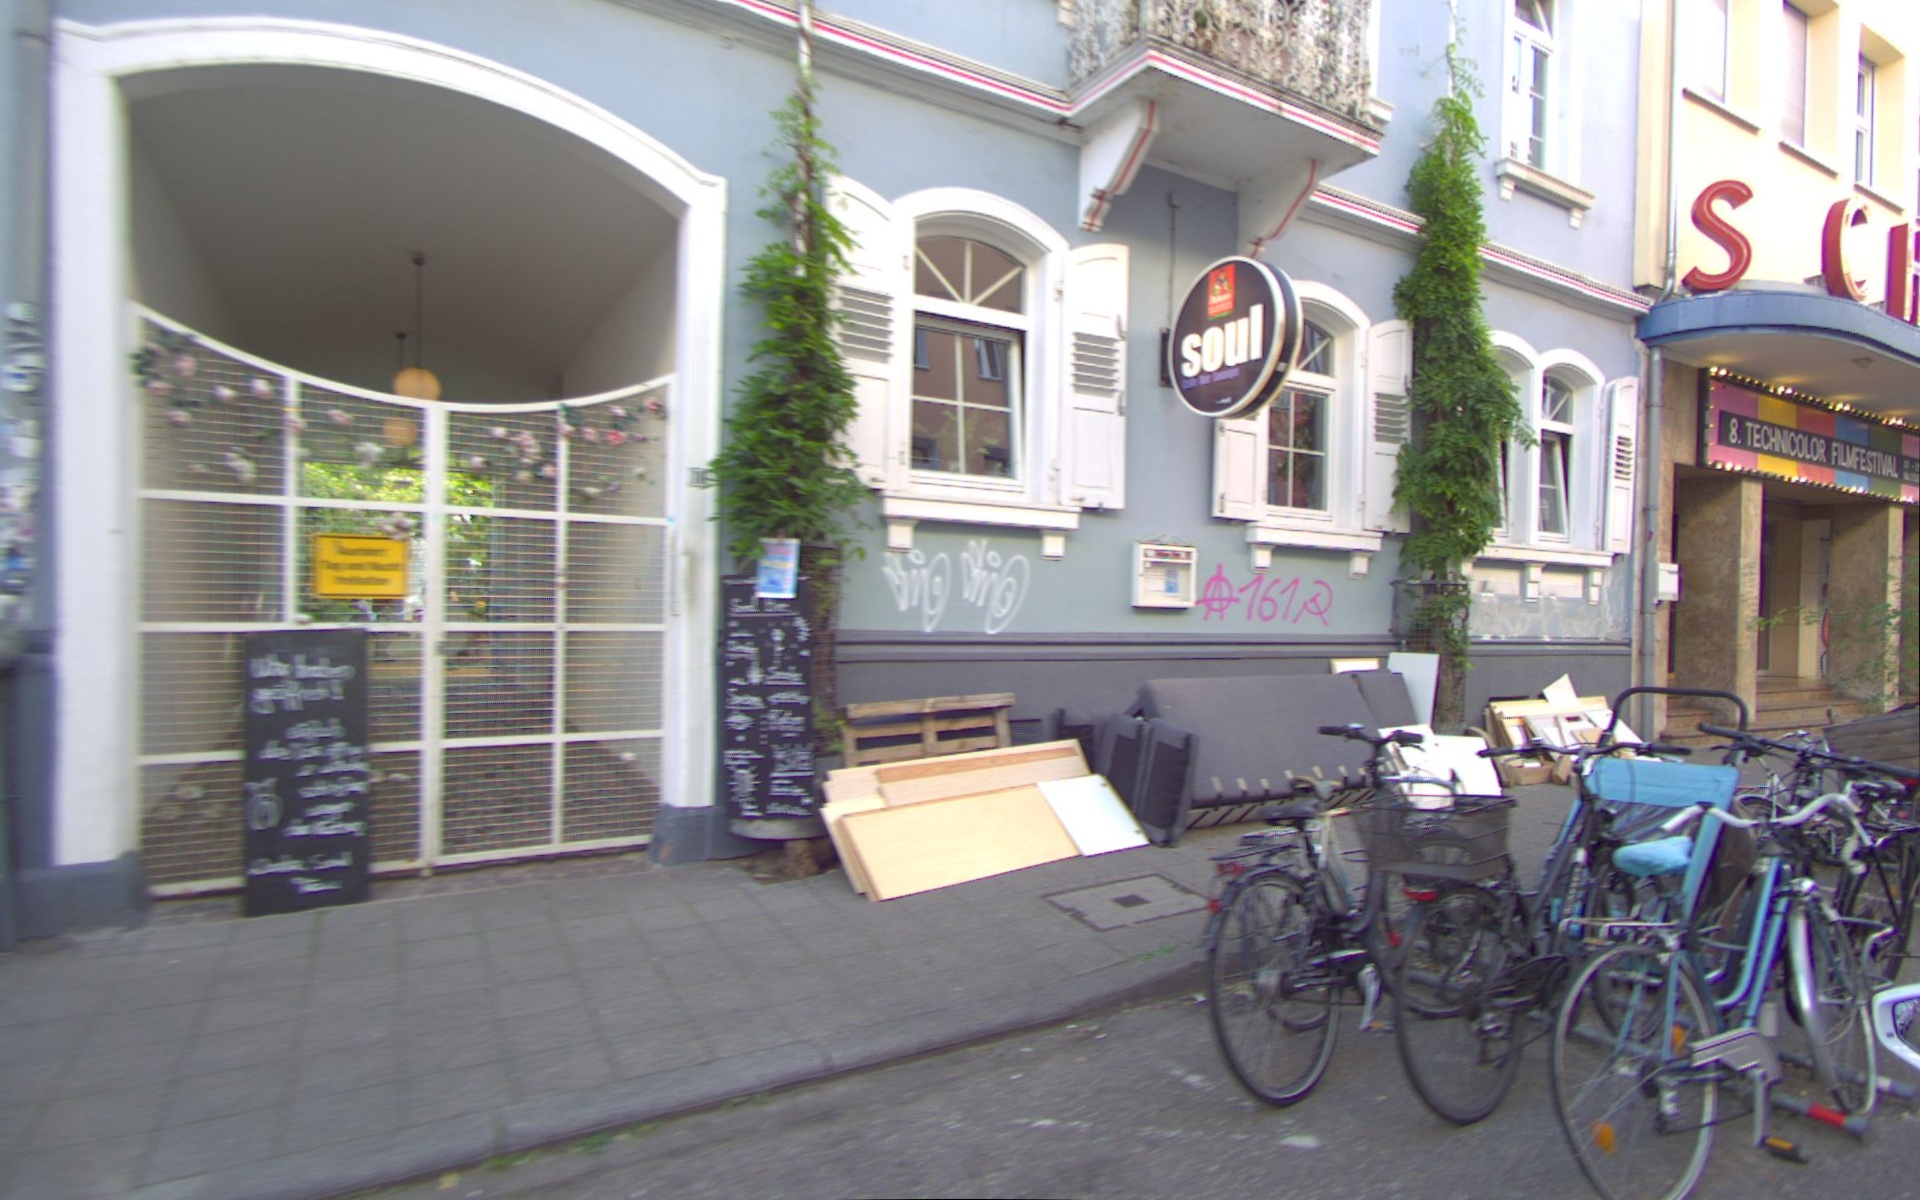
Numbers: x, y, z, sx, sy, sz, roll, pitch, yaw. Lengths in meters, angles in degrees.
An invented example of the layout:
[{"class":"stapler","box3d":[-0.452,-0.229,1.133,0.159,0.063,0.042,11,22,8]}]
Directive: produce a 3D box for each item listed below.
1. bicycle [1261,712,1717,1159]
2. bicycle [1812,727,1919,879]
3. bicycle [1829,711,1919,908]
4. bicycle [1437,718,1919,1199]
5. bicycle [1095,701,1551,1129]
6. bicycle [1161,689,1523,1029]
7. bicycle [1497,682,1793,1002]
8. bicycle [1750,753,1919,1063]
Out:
[{"class":"bicycle","box3d":[1.893,1.009,3.469,1.909,1.120,0.441,1,1,-31]},{"class":"bicycle","box3d":[5.952,1.278,6.487,1.284,0.828,0.255,1,0,-30]},{"class":"bicycle","box3d":[5.708,1.168,5.809,1.553,0.956,0.551,1,0,-30]},{"class":"bicycle","box3d":[2.209,0.975,2.976,1.809,1.120,0.496,1,1,-31]},{"class":"bicycle","box3d":[1.350,0.970,3.551,1.853,1.120,0.441,1,1,-32]},{"class":"bicycle","box3d":[1.629,0.973,4.177,1.678,1.120,0.441,1,1,-31]},{"class":"bicycle","box3d":[3.120,1.015,4.597,0.910,1.190,0.808,1,0,-32]},{"class":"bicycle","box3d":[3.526,1.111,3.852,1.275,0.929,0.320,1,0,-30]}]
